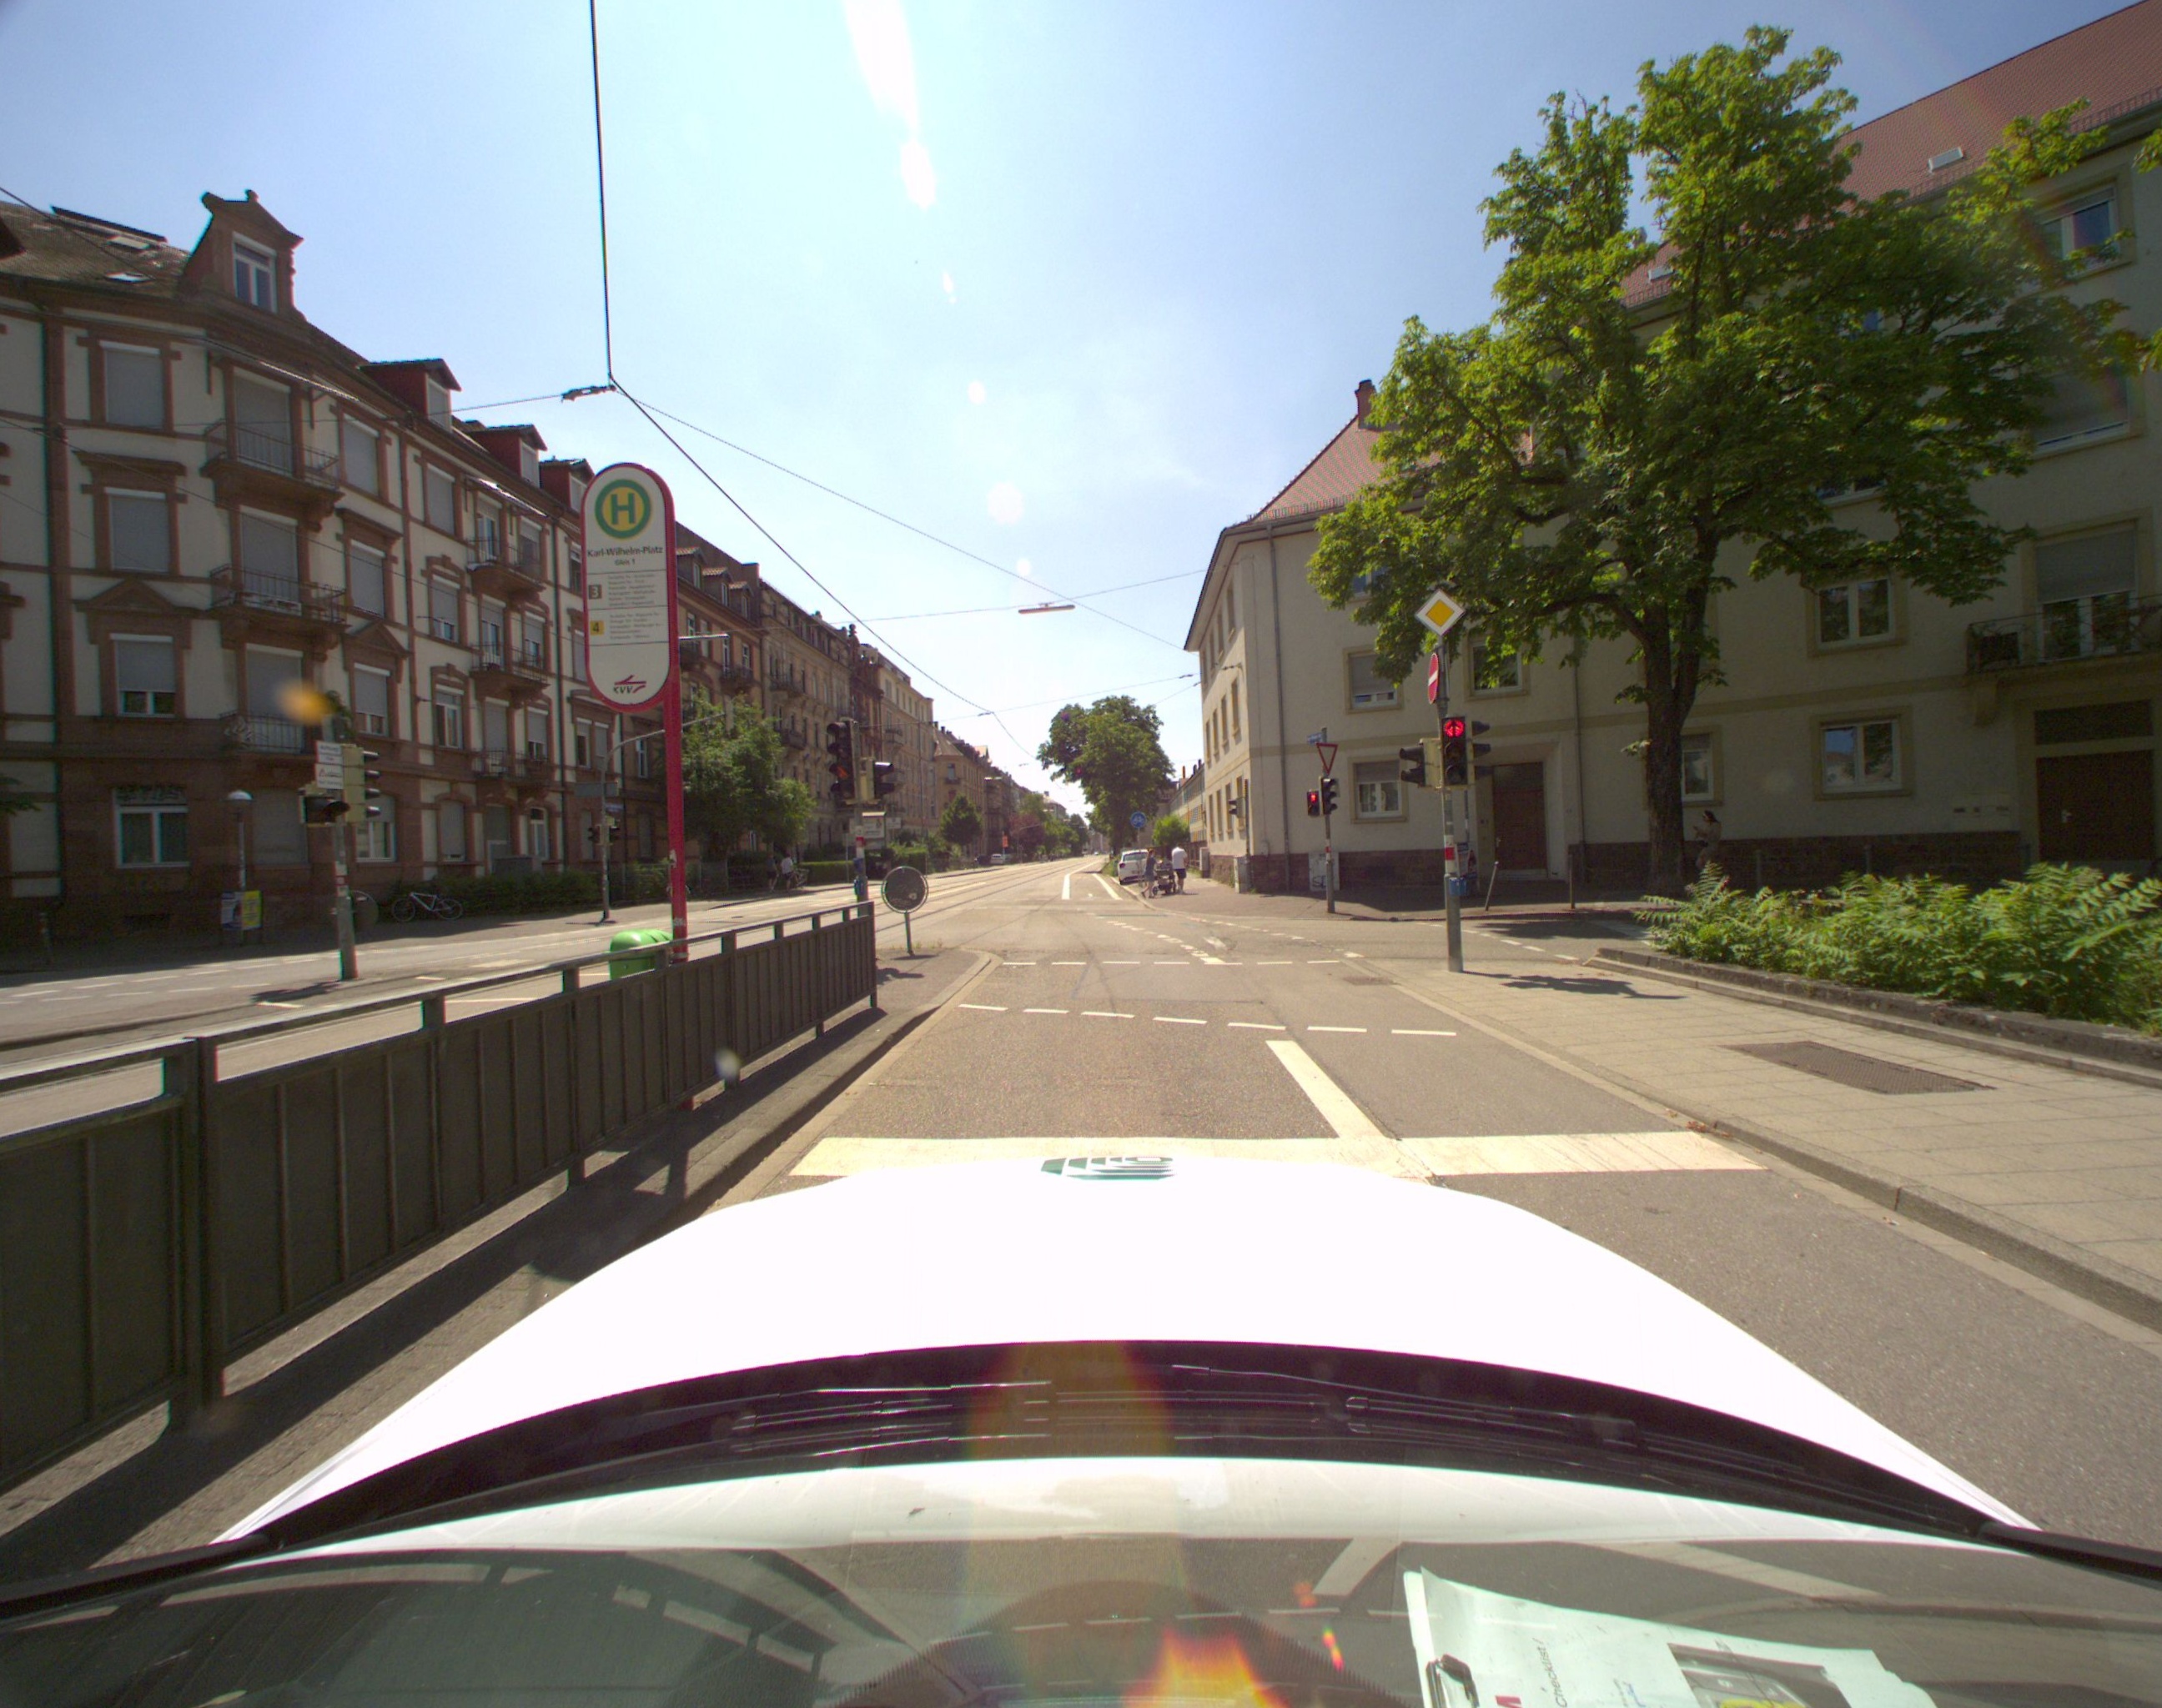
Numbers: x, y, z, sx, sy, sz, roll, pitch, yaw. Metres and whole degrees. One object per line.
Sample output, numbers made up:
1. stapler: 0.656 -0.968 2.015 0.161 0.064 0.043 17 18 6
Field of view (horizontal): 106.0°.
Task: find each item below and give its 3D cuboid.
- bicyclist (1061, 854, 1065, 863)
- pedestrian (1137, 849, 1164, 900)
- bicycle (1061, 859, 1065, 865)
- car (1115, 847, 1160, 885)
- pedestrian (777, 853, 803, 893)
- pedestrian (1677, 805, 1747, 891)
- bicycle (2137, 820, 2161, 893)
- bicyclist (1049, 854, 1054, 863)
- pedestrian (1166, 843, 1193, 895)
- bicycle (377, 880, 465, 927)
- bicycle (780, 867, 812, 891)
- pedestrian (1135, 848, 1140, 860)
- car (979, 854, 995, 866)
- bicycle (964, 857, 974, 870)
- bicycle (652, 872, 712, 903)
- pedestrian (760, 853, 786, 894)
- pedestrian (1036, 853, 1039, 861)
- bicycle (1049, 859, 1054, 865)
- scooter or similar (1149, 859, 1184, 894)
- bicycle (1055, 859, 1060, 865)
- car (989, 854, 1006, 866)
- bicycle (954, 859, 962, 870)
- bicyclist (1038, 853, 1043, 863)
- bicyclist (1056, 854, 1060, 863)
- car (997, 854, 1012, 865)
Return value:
1. bicyclist: -3.746 0.971 172.202 0.724 1.818 1.080 0 -1 3
2. pedestrian: 2.267 0.661 26.663 0.681 1.645 0.552 0 -1 -43
3. bicycle: -3.748 1.685 172.192 0.724 1.123 2.087 0 -1 4
4. car: 2.524 0.533 37.412 1.808 1.516 4.001 -4 -1 2
5. pedestrian: -13.499 0.881 37.826 0.812 1.822 0.874 0 1 3
6. pedestrian: 13.414 -0.120 17.347 1.043 1.690 0.658 -5 3 37
7. bicycle: 17.009 0.024 12.083 0.527 1.104 1.589 -2 0 -34
8. bicyclist: -5.452 0.816 151.460 0.724 1.768 1.080 0 -1 3
9. pedestrian: 3.211 0.486 26.463 0.681 1.645 0.552 0 -1 -43
10. bicycle: -19.556 1.437 24.159 0.557 1.294 1.975 -1 -1 43
11. bicycle: -14.397 1.255 41.255 0.936 1.136 2.767 0 -1 -7
12. pedestrian: 7.287 -0.025 104.590 0.519 1.562 0.573 -2 0 1
13. car: -14.333 0.899 124.466 1.912 1.715 4.001 0 -1 2
14. bicycle: -11.710 0.959 85.135 0.675 1.278 1.918 -2 0 -1
15. bicycle: -15.671 1.300 32.081 0.934 1.136 2.774 0 -1 1
16. pedestrian: -14.262 0.892 37.779 0.812 1.822 0.874 0 1 3
17. pedestrian: -7.941 0.588 148.492 0.404 1.461 0.436 -2 0 1
18. bicycle: -5.443 1.521 151.522 0.724 1.123 2.087 0 -1 4
19. scooter or similar: 2.883 0.748 27.342 0.551 1.155 1.212 -1 -1 41
20. bicycle: -4.955 1.699 172.268 0.724 1.123 2.087 0 -1 4
21. car: -11.881 0.814 116.064 1.912 1.715 4.001 0 -1 2
22. bicycle: -12.154 1.032 80.498 0.677 1.064 1.912 -2 0 -9
23. bicyclist: -6.540 0.701 132.459 0.724 1.629 1.080 0 -1 3
24. bicyclist: -4.957 0.995 172.266 0.724 1.818 1.080 0 -1 3
25. car: -11.660 0.879 124.328 1.912 1.715 4.001 0 -1 2
